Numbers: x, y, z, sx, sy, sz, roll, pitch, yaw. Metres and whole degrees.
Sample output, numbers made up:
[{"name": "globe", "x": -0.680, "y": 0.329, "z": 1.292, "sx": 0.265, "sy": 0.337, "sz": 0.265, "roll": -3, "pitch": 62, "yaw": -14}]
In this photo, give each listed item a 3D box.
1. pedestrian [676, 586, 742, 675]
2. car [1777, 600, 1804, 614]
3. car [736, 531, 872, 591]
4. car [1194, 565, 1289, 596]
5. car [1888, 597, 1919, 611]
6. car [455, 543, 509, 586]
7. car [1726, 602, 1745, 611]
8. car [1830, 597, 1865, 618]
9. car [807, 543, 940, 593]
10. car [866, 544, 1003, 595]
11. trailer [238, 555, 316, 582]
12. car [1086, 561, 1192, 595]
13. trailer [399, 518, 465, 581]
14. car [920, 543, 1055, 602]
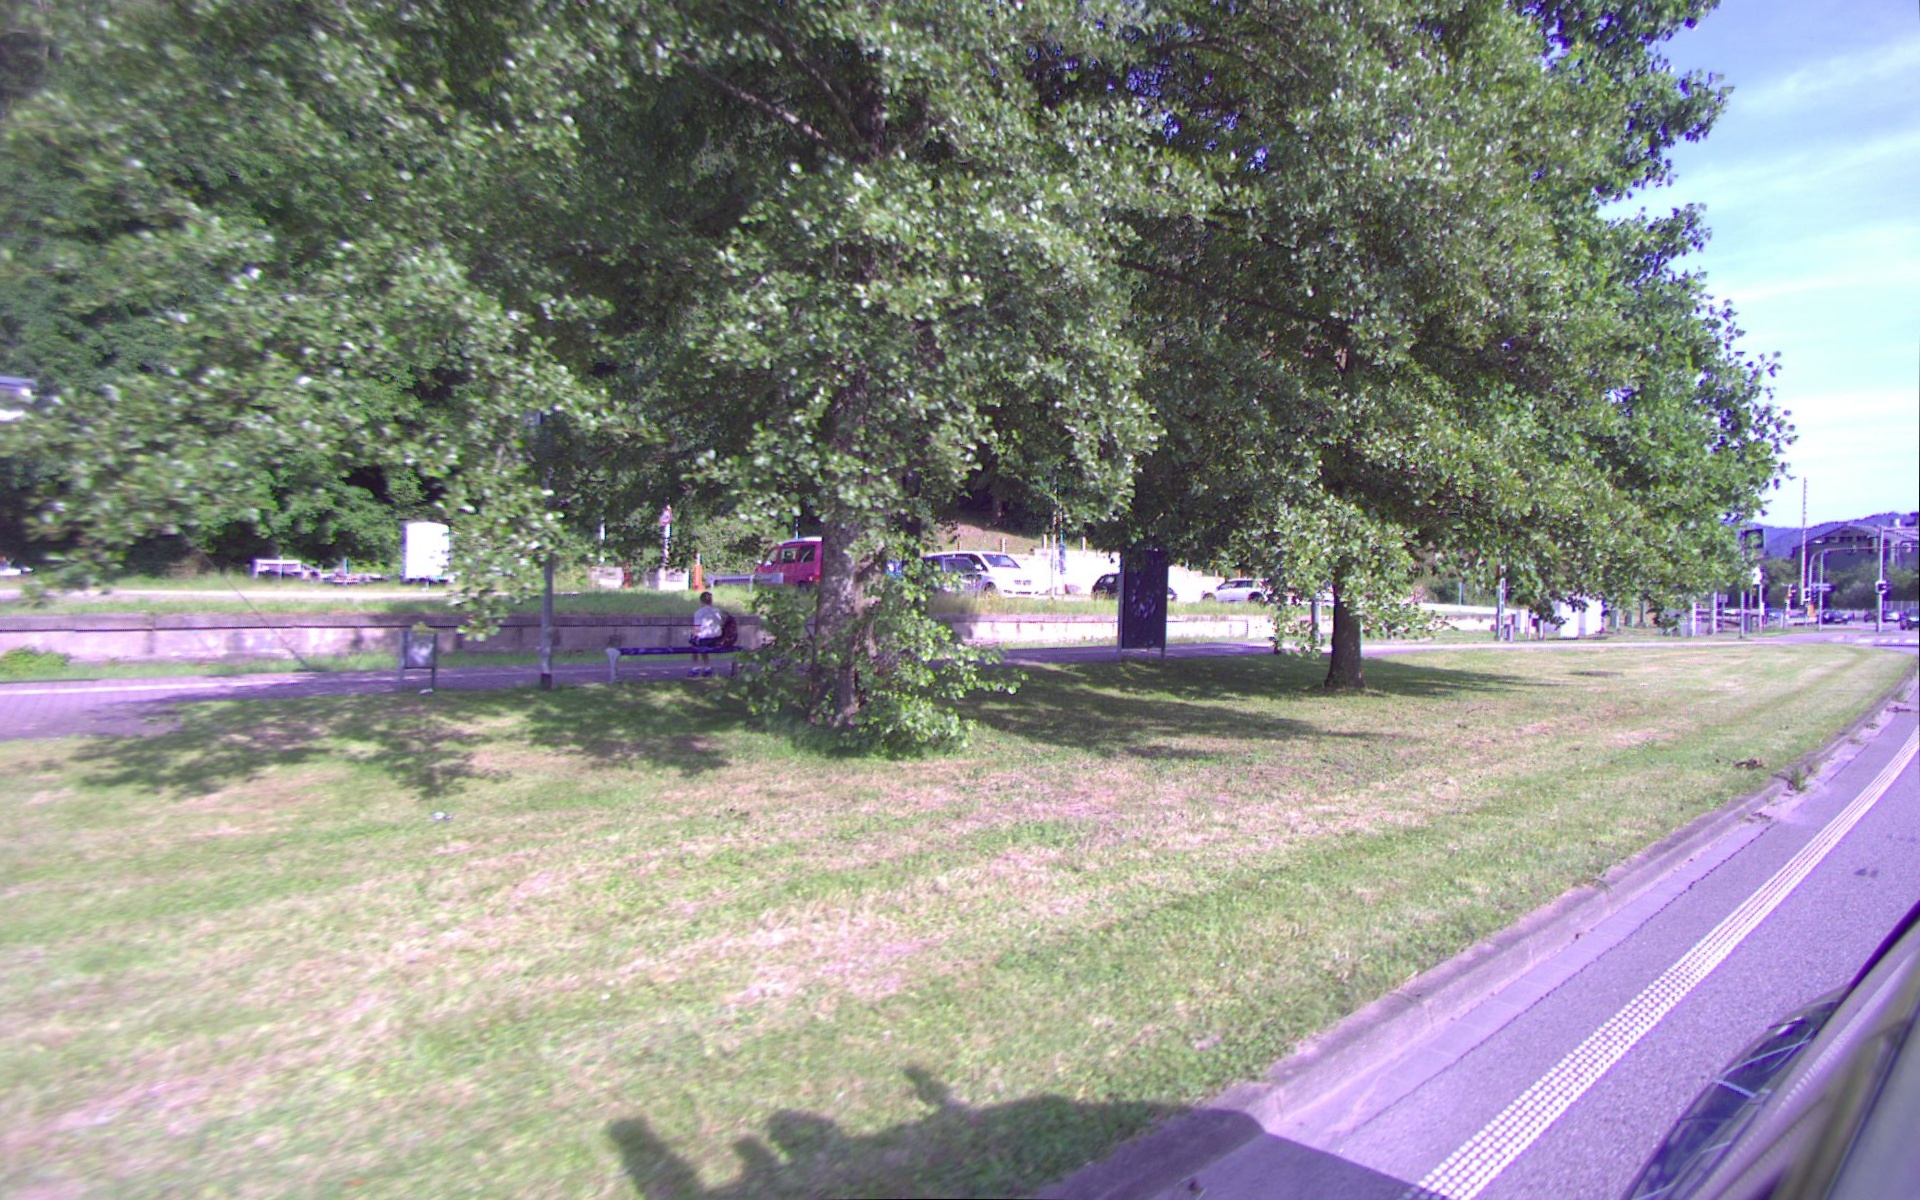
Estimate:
[{"name": "pedestrian", "x": -3.463, "y": 0.408, "z": 13.972, "sx": 0.712, "sy": 1.175, "sz": 0.638, "roll": 0, "pitch": 1, "yaw": -32}, {"name": "car", "x": 95.254, "y": 0.827, "z": 116.121, "sx": 1.864, "sy": 1.478, "sz": 3.687, "roll": 2, "pitch": 2, "yaw": 32}, {"name": "car", "x": -4.951, "y": -1.139, "z": 31.524, "sx": 1.901, "sy": 1.712, "sz": 4.961, "roll": 1, "pitch": 0, "yaw": -40}, {"name": "car", "x": 13.288, "y": -0.904, "z": 47.942, "sx": 1.777, "sy": 1.416, "sz": 4.104, "roll": 1, "pitch": 0, "yaw": -40}, {"name": "car", "x": 95.401, "y": 0.395, "z": 102.292, "sx": 1.765, "sy": 1.394, "sz": 4.586, "roll": 2, "pitch": 1, "yaw": 35}, {"name": "car", "x": -17.554, "y": -1.308, "z": 37.276, "sx": 1.636, "sy": 1.505, "sz": 3.621, "roll": 1, "pitch": 2, "yaw": -23}, {"name": "car", "x": 114.387, "y": 0.916, "z": 149.279, "sx": 1.635, "sy": 1.247, "sz": 4.053, "roll": 0, "pitch": 0, "yaw": 28}, {"name": "car", "x": 84.370, "y": 0.687, "z": 96.252, "sx": 1.987, "sy": 1.816, "sz": 3.950, "roll": 2, "pitch": 1, "yaw": 35}, {"name": "car", "x": -2.908, "y": -0.990, "z": 33.153, "sx": 1.862, "sy": 1.487, "sz": 4.961, "roll": 1, "pitch": 0, "yaw": -40}, {"name": "car", "x": -0.967, "y": -0.998, "z": 34.762, "sx": 2.103, "sy": 1.607, "sz": 4.961, "roll": 0, "pitch": 0, "yaw": -40}, {"name": "trailer", "x": -24.758, "y": -1.141, "z": 36.782, "sx": 1.701, "sy": 0.926, "sz": 3.079, "roll": 0, "pitch": 1, "yaw": -21}, {"name": "car", "x": 7.514, "y": -0.913, "z": 42.827, "sx": 1.799, "sy": 1.360, "sz": 4.273, "roll": 0, "pitch": 0, "yaw": -40}, {"name": "trailer", "x": -19.808, "y": -1.855, "z": 38.120, "sx": 1.780, "sy": 2.217, "sz": 3.712, "roll": 1, "pitch": 1, "yaw": -21}, {"name": "car", "x": 0.897, "y": -0.931, "z": 36.205, "sx": 2.103, "sy": 1.968, "sz": 4.961, "roll": 1, "pitch": 0, "yaw": -40}]
